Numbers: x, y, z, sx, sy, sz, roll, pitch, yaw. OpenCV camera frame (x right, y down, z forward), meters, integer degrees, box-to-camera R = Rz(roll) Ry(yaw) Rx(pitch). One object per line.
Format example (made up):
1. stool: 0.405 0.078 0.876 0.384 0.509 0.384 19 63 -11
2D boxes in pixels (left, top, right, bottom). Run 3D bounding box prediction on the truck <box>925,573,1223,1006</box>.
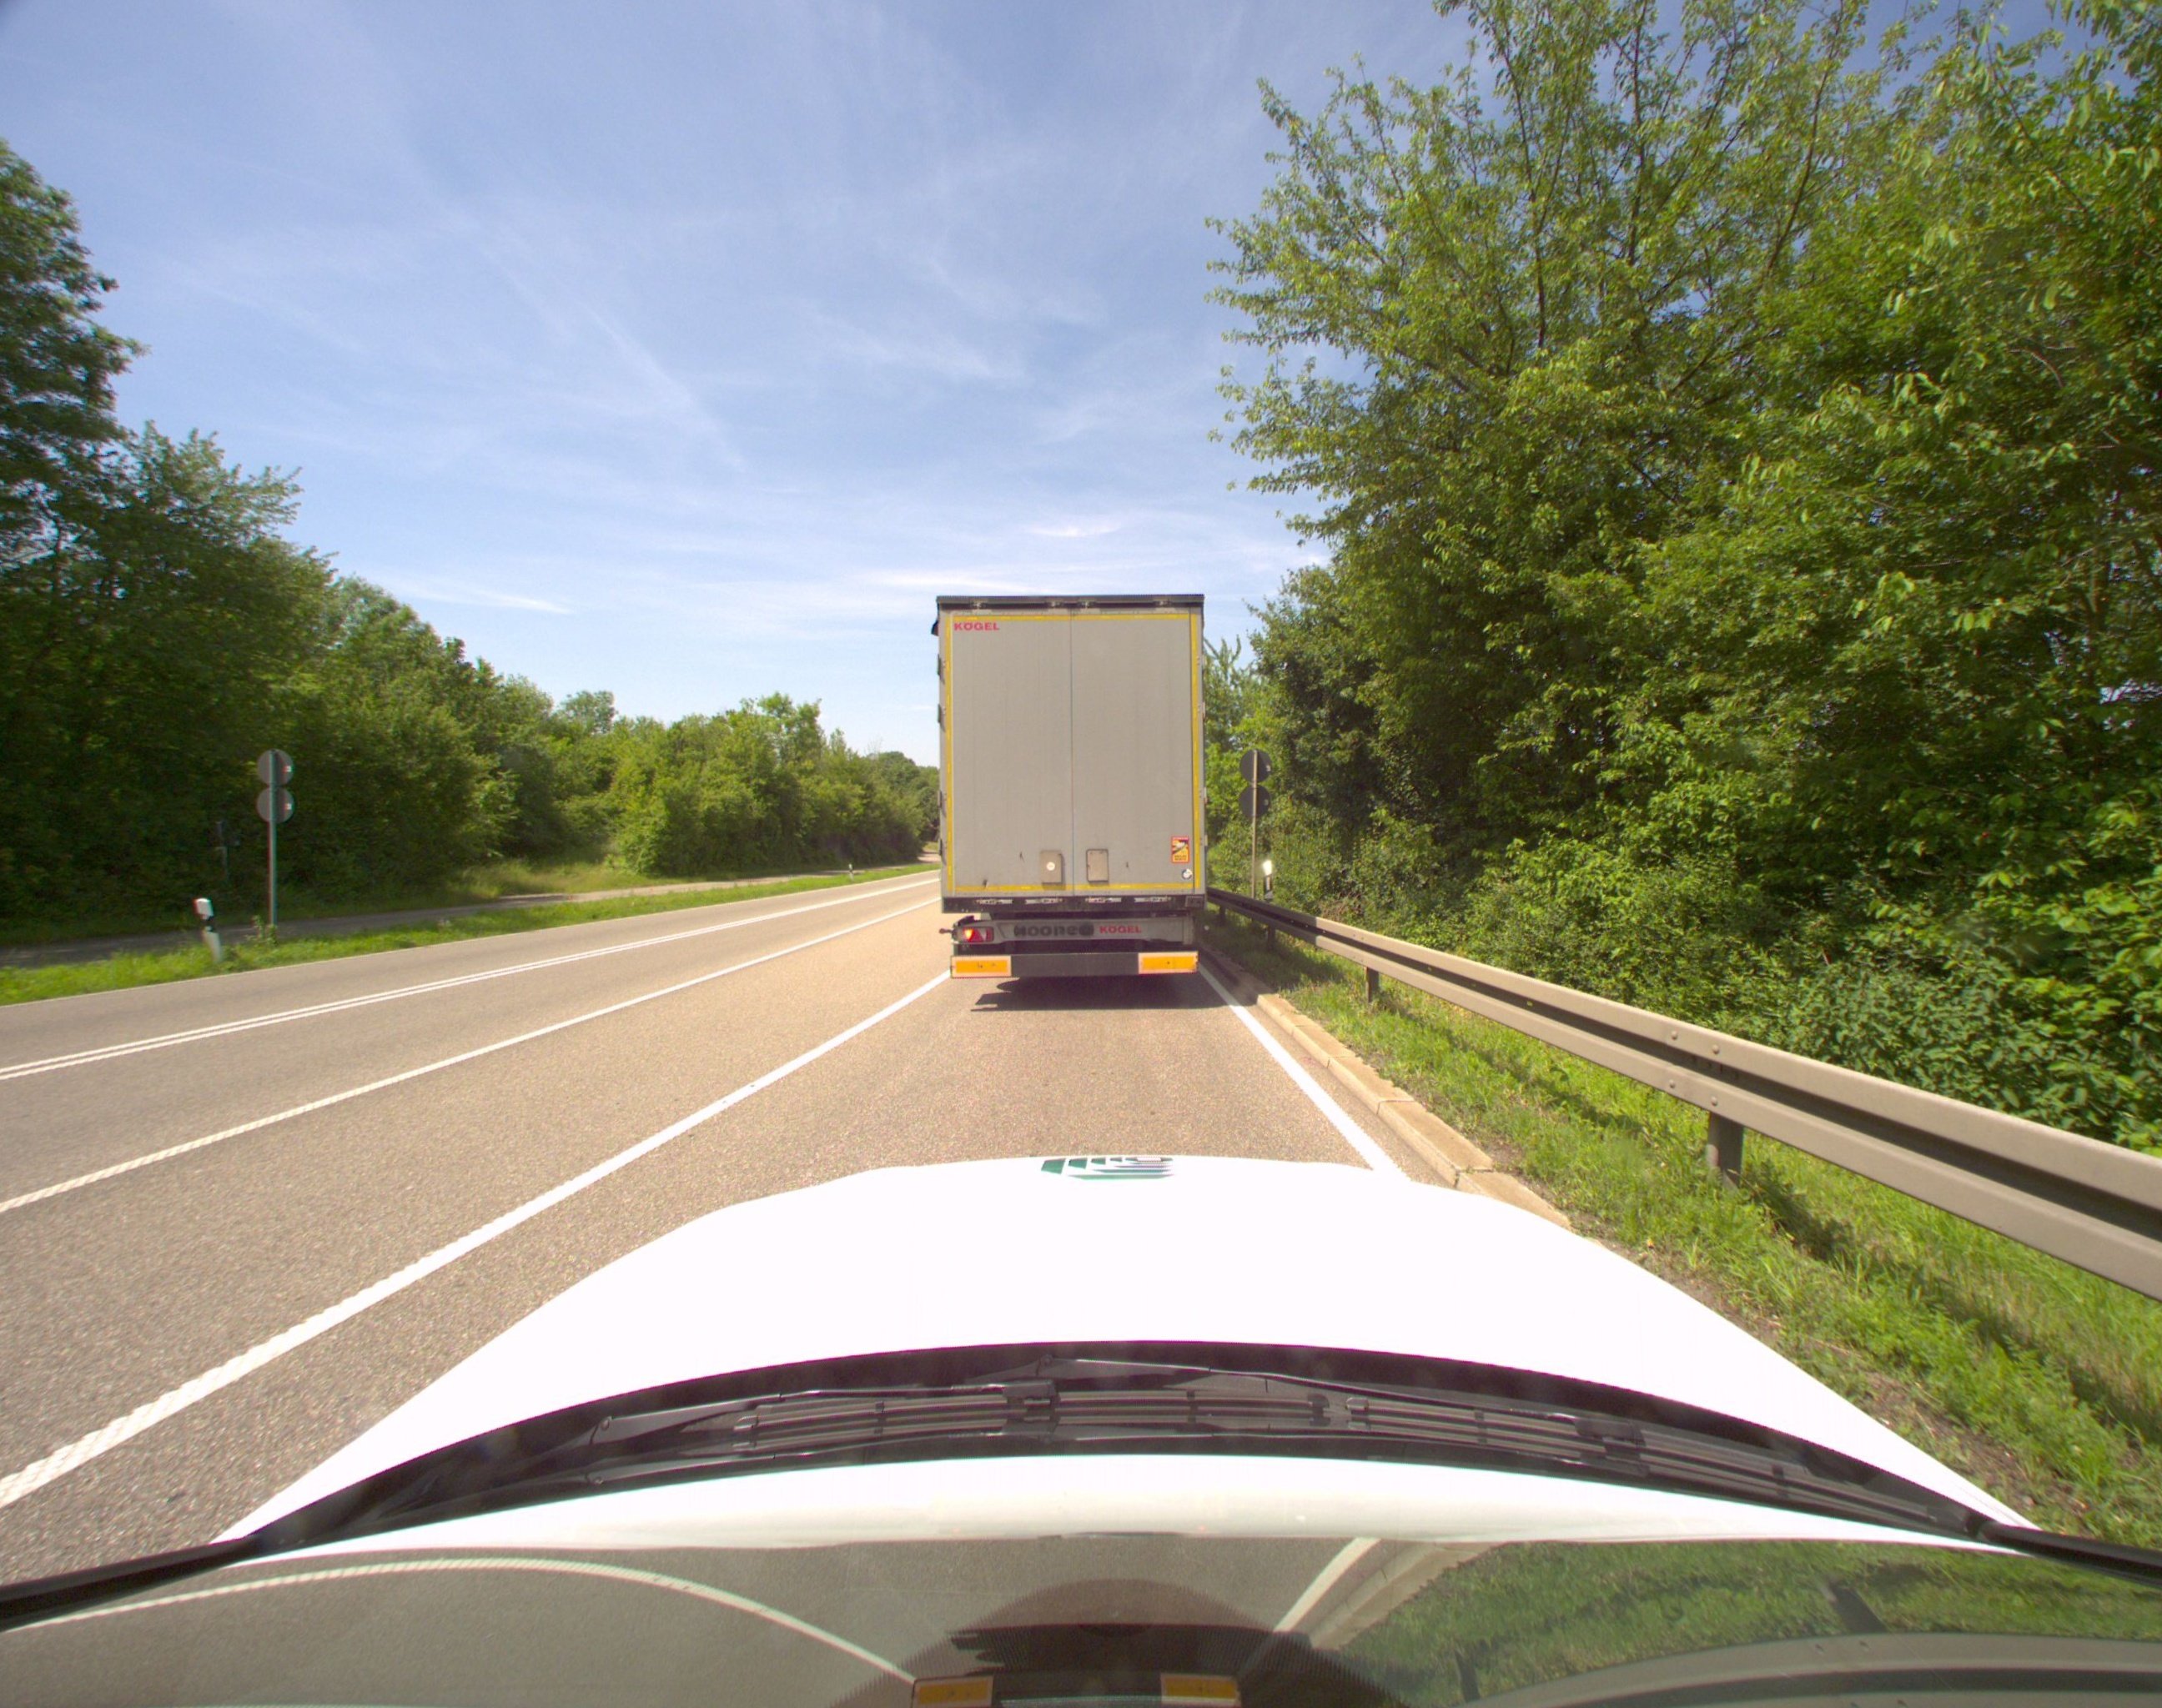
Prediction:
1. truck: 0.053 -0.622 13.599 2.747 4.029 11.926 -1 0 1
